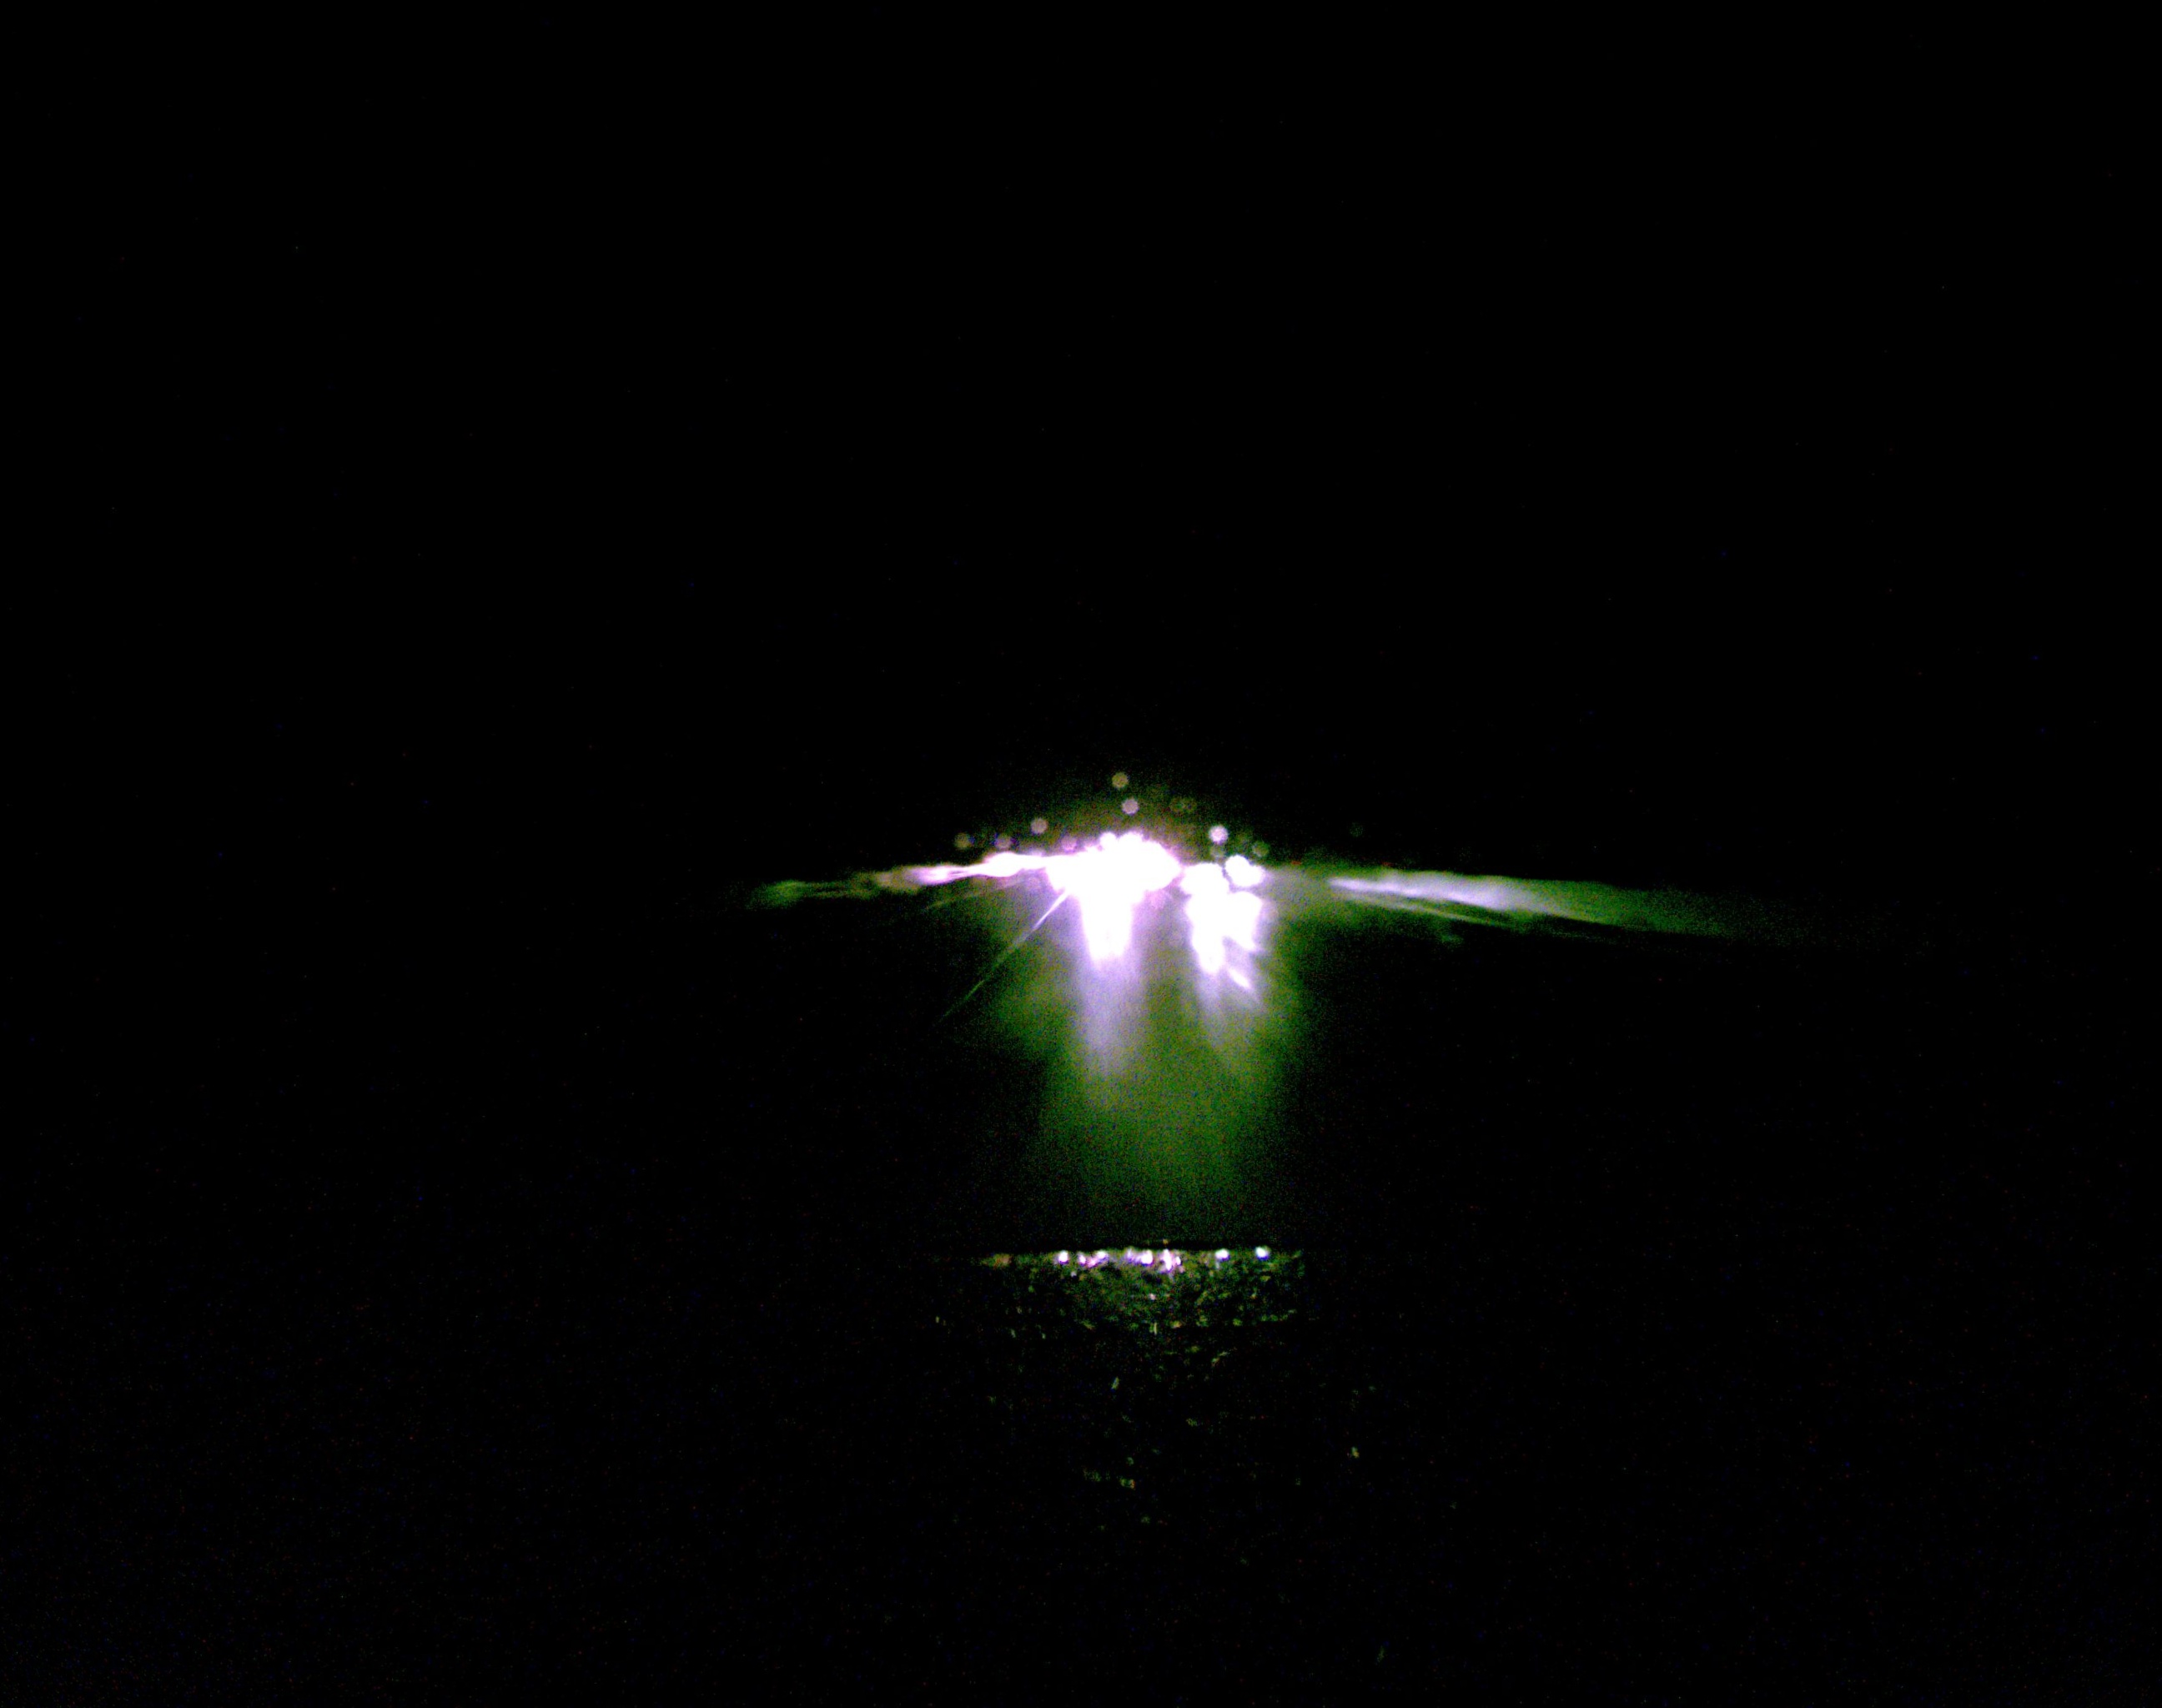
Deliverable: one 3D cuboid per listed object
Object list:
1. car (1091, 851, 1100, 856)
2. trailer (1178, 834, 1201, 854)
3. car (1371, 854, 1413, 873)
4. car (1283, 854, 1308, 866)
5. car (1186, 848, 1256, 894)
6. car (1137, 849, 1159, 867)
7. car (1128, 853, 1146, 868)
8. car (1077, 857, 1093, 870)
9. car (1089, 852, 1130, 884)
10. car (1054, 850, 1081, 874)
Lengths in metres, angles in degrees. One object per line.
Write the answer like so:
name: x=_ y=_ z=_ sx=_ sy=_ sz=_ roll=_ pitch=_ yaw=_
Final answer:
car: x=3.216 y=-0.127 z=170.825 sx=1.999 sy=1.149 sz=3.999 roll=1 pitch=1 yaw=-1
trailer: x=26.520 y=-2.496 z=186.444 sx=4.177 sy=4.597 sz=13.958 roll=1 pitch=1 yaw=2
car: x=26.404 y=0.775 z=64.631 sx=1.998 sy=1.477 sz=4.000 roll=-3 pitch=0 yaw=1
car: x=27.598 y=0.786 z=97.834 sx=1.998 sy=1.477 sz=4.408 roll=-3 pitch=0 yaw=1
car: x=5.331 y=0.607 z=29.442 sx=2.309 sy=1.600 sz=3.872 roll=1 pitch=1 yaw=5
car: x=6.583 y=0.361 z=74.610 sx=1.998 sy=1.667 sz=4.000 roll=1 pitch=1 yaw=3
car: x=7.002 y=0.827 z=95.667 sx=1.998 sy=1.745 sz=4.000 roll=-1 pitch=1 yaw=1
car: x=0.573 y=1.304 z=106.807 sx=1.998 sy=1.745 sz=4.000 roll=-1 pitch=1 yaw=3
car: x=1.629 y=0.732 z=42.058 sx=1.997 sy=1.667 sz=4.001 roll=1 pitch=1 yaw=6
car: x=-1.166 y=0.650 z=65.843 sx=1.998 sy=2.002 sz=4.001 roll=1 pitch=1 yaw=4
